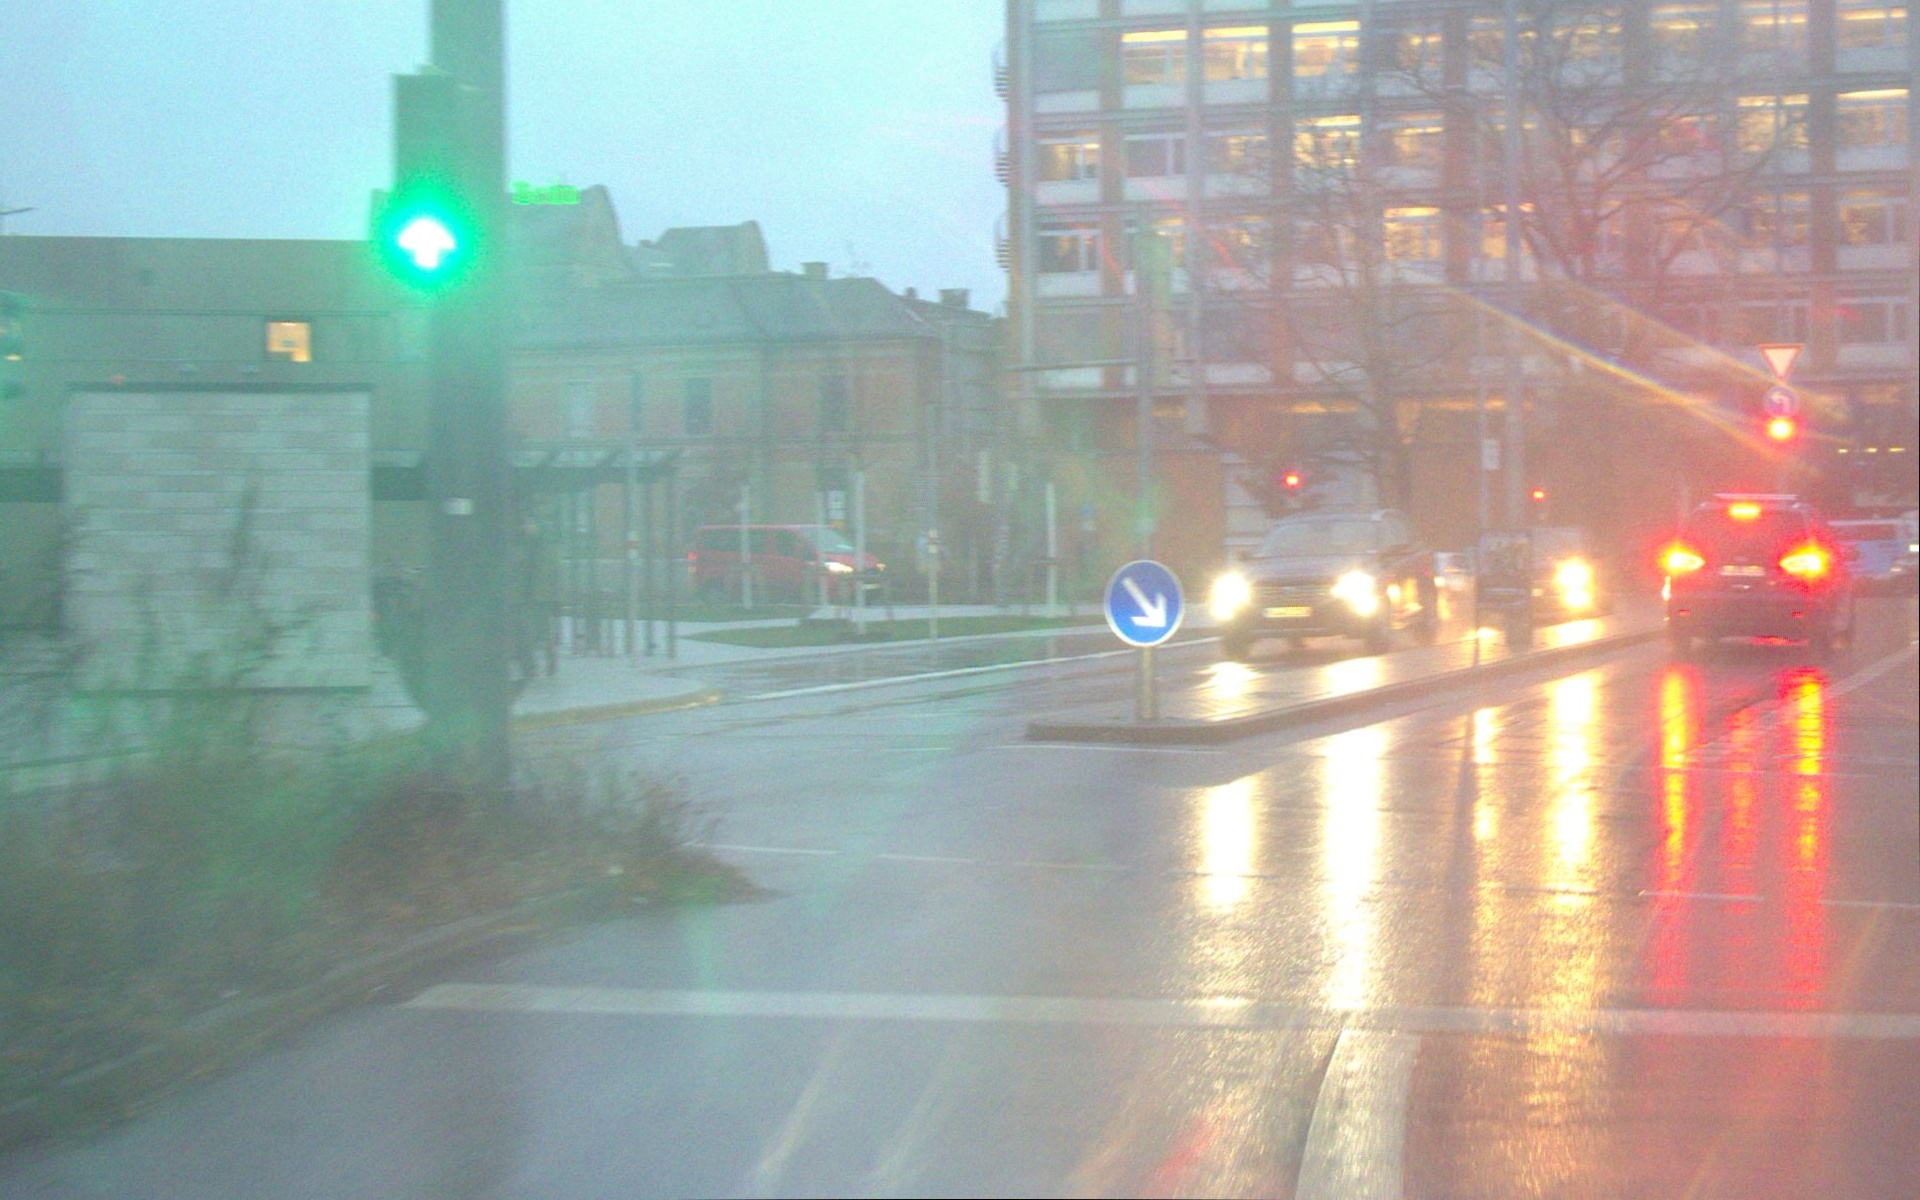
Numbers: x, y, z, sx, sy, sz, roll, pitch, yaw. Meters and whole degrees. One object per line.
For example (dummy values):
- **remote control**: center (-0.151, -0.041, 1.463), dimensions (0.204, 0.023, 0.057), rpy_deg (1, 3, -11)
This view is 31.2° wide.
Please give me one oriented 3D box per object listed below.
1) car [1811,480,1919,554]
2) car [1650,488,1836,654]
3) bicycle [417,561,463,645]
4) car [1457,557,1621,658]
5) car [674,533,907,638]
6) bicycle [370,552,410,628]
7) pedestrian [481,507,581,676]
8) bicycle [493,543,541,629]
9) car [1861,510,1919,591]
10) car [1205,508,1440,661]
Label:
- **car**: center (27.488, -2.359, 98.827), dimensions (5.554, 2.017, 1.997), rpy_deg (2, 0, 26)
- **car**: center (9.228, -0.387, 40.311), dimensions (1.649, 1.812, 3.996), rpy_deg (2, 2, 19)
- **bicycle**: center (-7.412, 0.041, 48.964), dimensions (0.548, 1.161, 1.899), rpy_deg (2, 0, -10)
- **car**: center (8.798, 0.085, 51.984), dimensions (1.748, 1.373, 4.363), rpy_deg (-1, 1, 19)
- **car**: center (-3.944, -0.342, 79.670), dimensions (5.032, 2.273, 2.253), rpy_deg (2, 0, 36)
- **bicycle**: center (-8.918, -0.156, 53.742), dimensions (0.548, 1.161, 1.899), rpy_deg (2, 0, -10)
- **pedestrian**: center (-4.314, -0.081, 34.618), dimensions (0.674, 1.668, 0.729), rpy_deg (2, 0, 23)
- **bicycle**: center (-6.234, -0.200, 48.320), dimensions (0.548, 1.161, 1.899), rpy_deg (2, 0, -10)
- **car**: center (24.505, -1.158, 82.542), dimensions (5.165, 1.906, 1.995), rpy_deg (2, 1, 35)
- **car**: center (4.297, -0.221, 40.151), dimensions (1.756, 1.656, 4.526), rpy_deg (-1, 1, 19)
